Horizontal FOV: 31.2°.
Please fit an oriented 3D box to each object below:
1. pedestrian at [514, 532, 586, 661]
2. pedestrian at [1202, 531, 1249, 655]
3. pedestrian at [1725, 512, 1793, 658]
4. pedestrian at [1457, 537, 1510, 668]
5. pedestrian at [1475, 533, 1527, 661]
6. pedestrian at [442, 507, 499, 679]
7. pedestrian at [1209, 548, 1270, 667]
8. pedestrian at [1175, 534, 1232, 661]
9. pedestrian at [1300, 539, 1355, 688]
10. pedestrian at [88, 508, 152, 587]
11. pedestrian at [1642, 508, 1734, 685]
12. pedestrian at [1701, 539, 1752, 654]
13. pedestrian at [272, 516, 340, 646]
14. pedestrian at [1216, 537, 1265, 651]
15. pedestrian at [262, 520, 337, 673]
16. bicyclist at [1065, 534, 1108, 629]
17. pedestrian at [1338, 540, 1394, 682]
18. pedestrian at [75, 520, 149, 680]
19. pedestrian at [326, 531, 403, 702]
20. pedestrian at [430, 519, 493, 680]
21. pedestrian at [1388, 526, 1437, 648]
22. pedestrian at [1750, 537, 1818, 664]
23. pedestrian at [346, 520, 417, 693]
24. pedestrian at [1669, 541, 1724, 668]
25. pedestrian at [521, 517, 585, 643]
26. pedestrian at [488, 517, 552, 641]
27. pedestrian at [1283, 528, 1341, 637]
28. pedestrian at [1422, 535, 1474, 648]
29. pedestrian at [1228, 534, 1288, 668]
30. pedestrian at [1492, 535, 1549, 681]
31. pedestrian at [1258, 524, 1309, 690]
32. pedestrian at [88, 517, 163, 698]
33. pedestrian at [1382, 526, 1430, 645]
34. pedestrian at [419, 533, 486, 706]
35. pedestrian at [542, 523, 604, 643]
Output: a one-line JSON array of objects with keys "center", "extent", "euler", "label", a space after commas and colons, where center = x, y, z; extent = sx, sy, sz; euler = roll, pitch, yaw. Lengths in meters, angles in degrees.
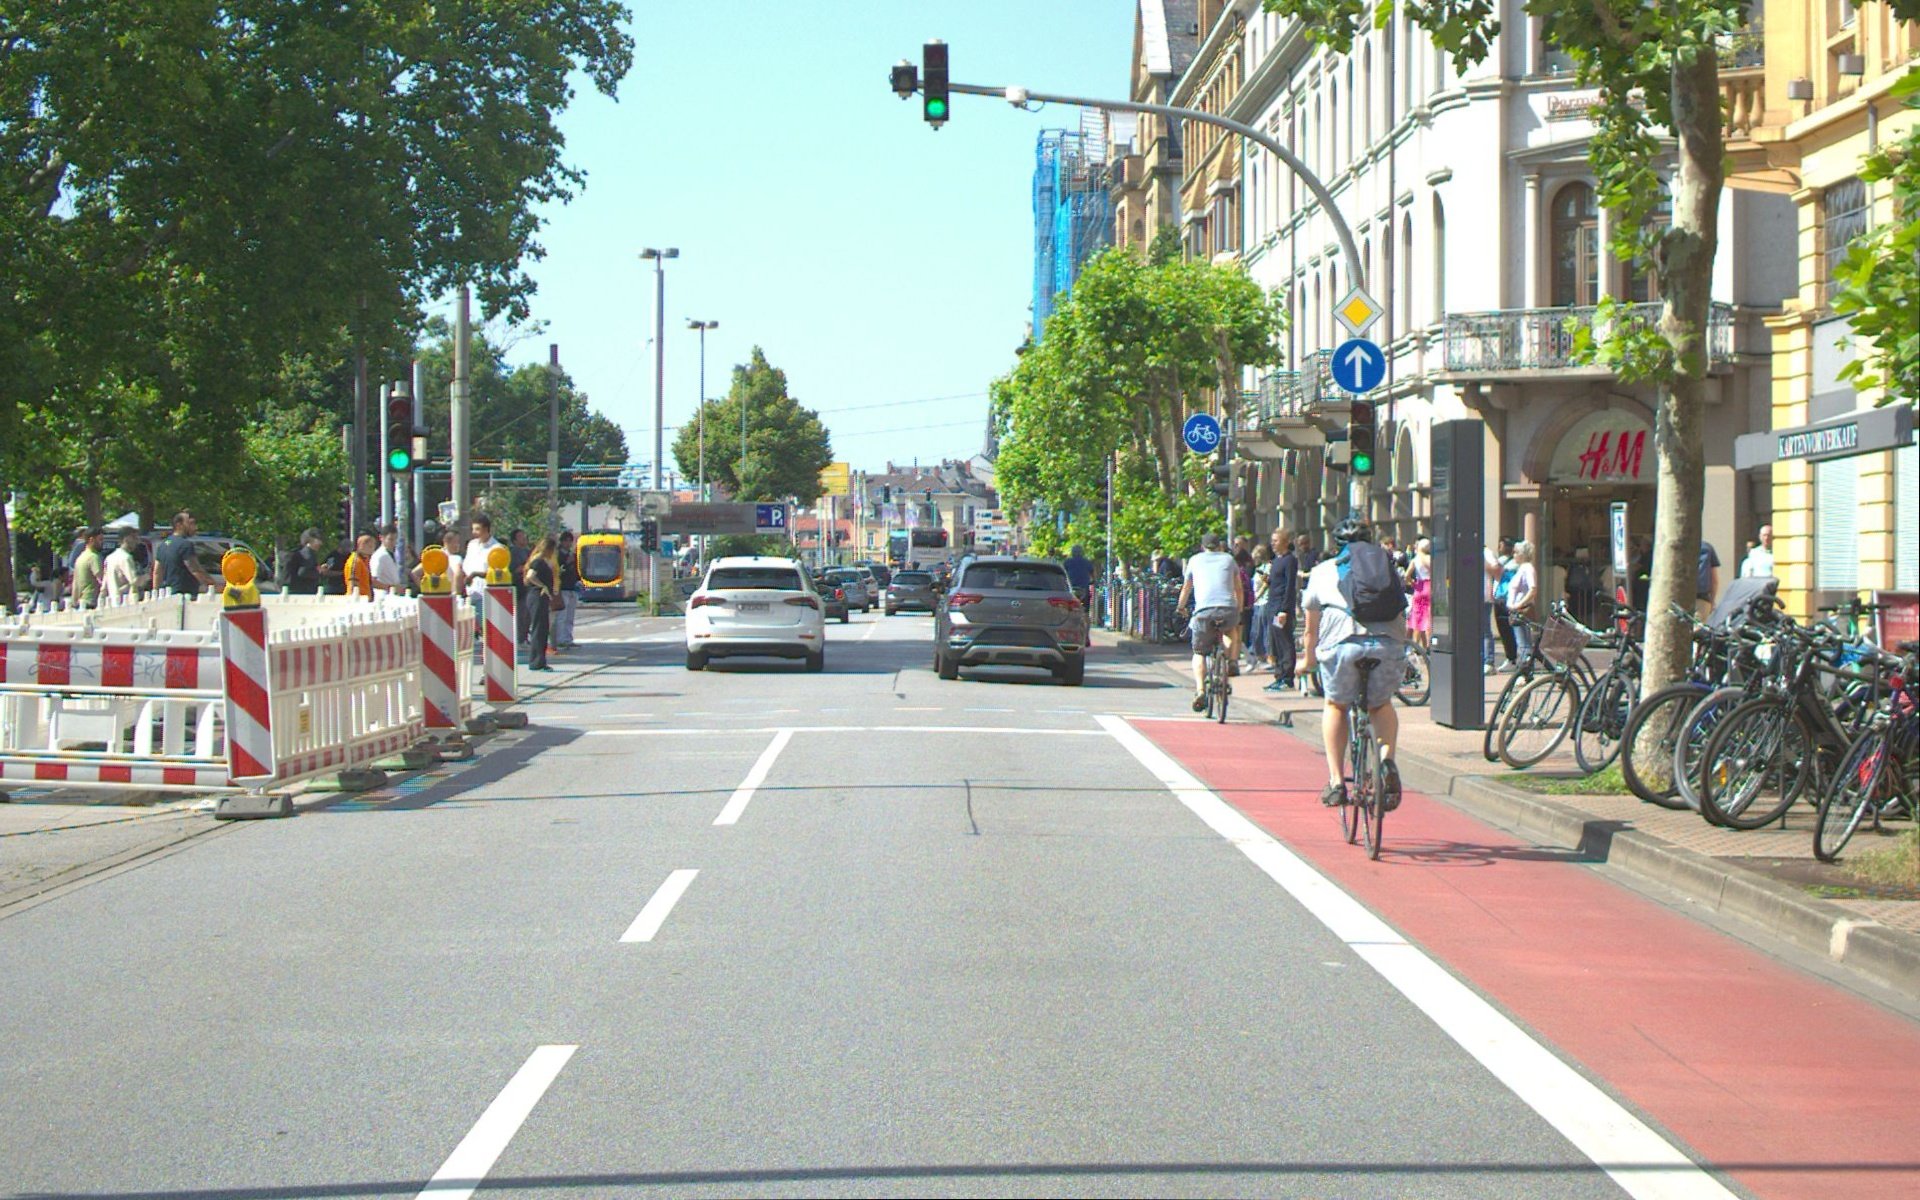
[{"center": [-5.075, -0.047, 42.544], "extent": [0.633, 1.590, 0.686], "euler": [0, 0, 20], "label": "pedestrian"}, {"center": [3.933, -0.105, 50.920], "extent": [0.610, 1.817, 0.678], "euler": [0, 0, -2], "label": "pedestrian"}, {"center": [9.904, -0.191, 42.628], "extent": [0.549, 1.795, 0.588], "euler": [-1, 0, -45], "label": "pedestrian"}, {"center": [6.475, 0.028, 42.533], "extent": [0.522, 1.603, 0.641], "euler": [-1, 0, 0], "label": "pedestrian"}, {"center": [6.855, -0.041, 43.581], "extent": [0.522, 1.606, 0.641], "euler": [-1, 0, 0], "label": "pedestrian"}, {"center": [-5.494, -0.079, 38.609], "extent": [0.532, 1.912, 0.560], "euler": [0, 0, 1], "label": "pedestrian"}, {"center": [3.670, 0.099, 45.191], "extent": [0.610, 1.510, 0.678], "euler": [-4, 0, -2], "label": "pedestrian"}, {"center": [3.413, -0.037, 48.170], "extent": [0.610, 1.733, 0.678], "euler": [-4, 0, -2], "label": "pedestrian"}, {"center": [4.074, 0.149, 38.116], "extent": [0.549, 1.625, 0.589], "euler": [-1, 0, 3], "label": "pedestrian"}, {"center": [-12.183, -0.762, 49.869], "extent": [0.633, 1.140, 0.664], "euler": [0, 0, 20], "label": "pedestrian"}, {"center": [7.466, -0.020, 35.299], "extent": [0.657, 1.784, 1.233], "euler": [0, -1, -1], "label": "pedestrian"}, {"center": [10.987, -0.048, 49.305], "extent": [0.540, 1.627, 0.678], "euler": [1, 0, -2], "label": "pedestrian"}, {"center": [-9.157, -0.274, 48.148], "extent": [0.633, 1.804, 0.730], "euler": [0, 0, 20], "label": "pedestrian"}, {"center": [4.192, -0.095, 51.437], "extent": [0.582, 1.668, 0.605], "euler": [-3, 0, -2], "label": "pedestrian"}, {"center": [-8.088, -0.043, 42.101], "extent": [0.633, 1.852, 0.686], "euler": [0, 0, 20], "label": "pedestrian"}, {"center": [2.061, -0.304, 56.251], "extent": [0.647, 1.545, 0.817], "euler": [0, 1, -1], "label": "bicyclist"}, {"center": [4.388, 0.117, 37.171], "extent": [0.523, 1.516, 0.641], "euler": [-1, 0, 3], "label": "pedestrian"}, {"center": [-9.240, -0.001, 37.463], "extent": [0.584, 1.716, 0.789], "euler": [0, 0, 1], "label": "pedestrian"}, {"center": [-6.071, 0.167, 35.019], "extent": [0.539, 1.712, 0.606], "euler": [2, 0, -32], "label": "pedestrian"}, {"center": [-5.507, -0.007, 37.977], "extent": [0.576, 1.752, 0.638], "euler": [0, 0, 1], "label": "pedestrian"}, {"center": [6.819, -0.197, 51.793], "extent": [0.610, 1.817, 0.678], "euler": [0, 0, -2], "label": "pedestrian"}, {"center": [10.228, 0.004, 42.678], "extent": [0.549, 1.564, 0.588], "euler": [-1, 0, -45], "label": "pedestrian"}, {"center": [-6.011, 0.066, 35.725], "extent": [0.539, 1.773, 0.606], "euler": [2, 0, 5], "label": "pedestrian"}, {"center": [10.572, 0.062, 49.366], "extent": [0.610, 1.800, 0.678], "euler": [0, 0, -2], "label": "pedestrian"}, {"center": [-5.830, -0.292, 49.261], "extent": [0.633, 1.788, 0.730], "euler": [0, 0, 20], "label": "pedestrian"}, {"center": [-6.612, -0.312, 51.671], "extent": [0.633, 1.852, 0.730], "euler": [0, 0, 29], "label": "pedestrian"}, {"center": [5.525, -0.275, 53.995], "extent": [0.610, 1.699, 0.678], "euler": [-1, 1, -28], "label": "pedestrian"}, {"center": [7.105, -0.130, 50.088], "extent": [0.610, 1.613, 0.678], "euler": [0, 2, -2], "label": "pedestrian"}, {"center": [4.027, 0.009, 46.473], "extent": [0.610, 1.753, 0.678], "euler": [-4, 0, -2], "label": "pedestrian"}, {"center": [6.335, 0.087, 38.873], "extent": [0.549, 1.634, 0.589], "euler": [-1, 0, 3], "label": "pedestrian"}, {"center": [3.739, 0.078, 39.772], "extent": [0.523, 1.891, 0.641], "euler": [-1, 0, 3], "label": "pedestrian"}, {"center": [-8.824, 0.073, 36.359], "extent": [0.576, 1.884, 0.653], "euler": [2, 0, 1], "label": "pedestrian"}, {"center": [6.808, -0.216, 52.475], "extent": [0.610, 1.800, 0.678], "euler": [0, 0, -2], "label": "pedestrian"}, {"center": [-5.133, 0.194, 34.762], "extent": [0.429, 1.734, 0.606], "euler": [2, 0, -32], "label": "pedestrian"}, {"center": [-5.976, -0.264, 53.055], "extent": [0.633, 1.828, 0.730], "euler": [0, 0, 29], "label": "pedestrian"}]
